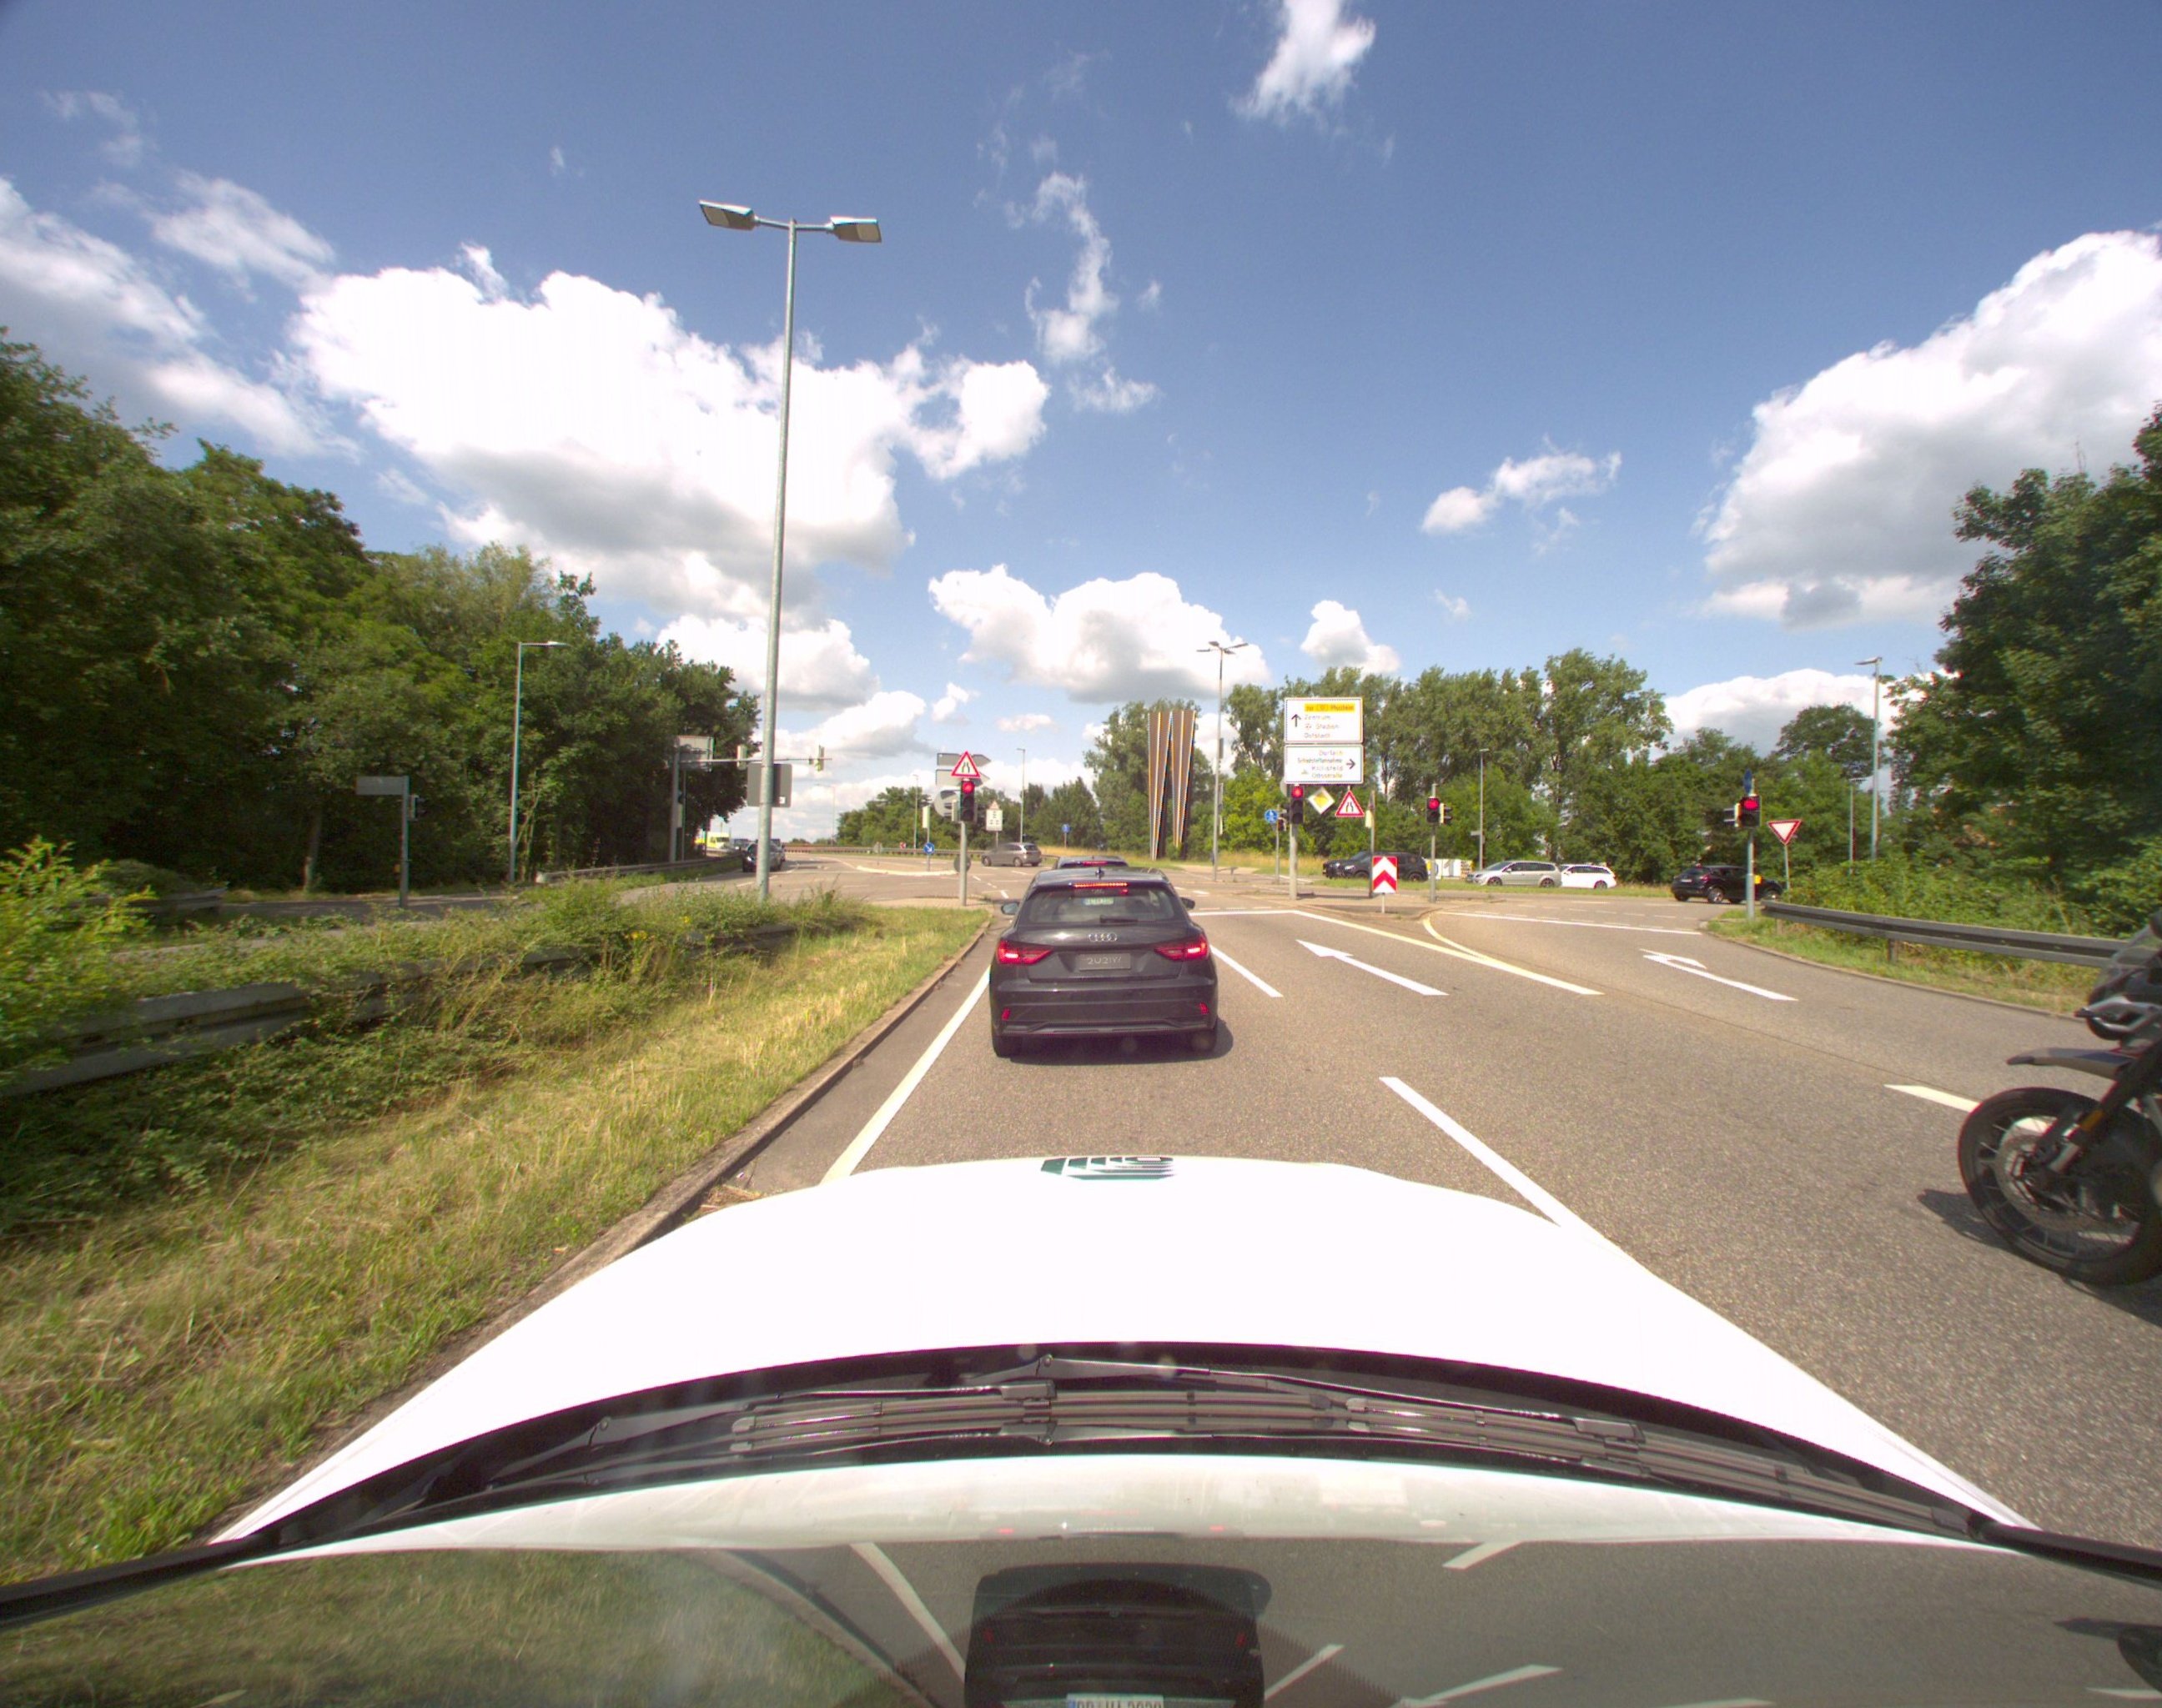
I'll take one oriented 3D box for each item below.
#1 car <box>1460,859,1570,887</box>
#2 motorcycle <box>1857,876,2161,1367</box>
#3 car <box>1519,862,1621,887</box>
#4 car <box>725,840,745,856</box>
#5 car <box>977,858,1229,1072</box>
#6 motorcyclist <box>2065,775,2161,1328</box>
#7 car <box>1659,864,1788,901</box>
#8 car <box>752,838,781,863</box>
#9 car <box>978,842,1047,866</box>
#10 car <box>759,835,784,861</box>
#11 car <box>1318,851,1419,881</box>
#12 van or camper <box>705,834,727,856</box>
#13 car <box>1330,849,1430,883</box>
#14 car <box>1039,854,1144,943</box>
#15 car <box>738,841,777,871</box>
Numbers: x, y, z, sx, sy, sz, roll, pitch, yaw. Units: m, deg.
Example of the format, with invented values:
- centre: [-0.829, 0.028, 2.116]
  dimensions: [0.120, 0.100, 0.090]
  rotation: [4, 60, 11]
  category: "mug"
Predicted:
- centre: [21.108, 0.910, 39.700]
  dimensions: [4.460, 1.320, 1.736]
  rotation: [1, 0, -2]
  category: "car"
- centre: [3.571, 0.787, 2.105]
  dimensions: [0.933, 1.383, 2.371]
  rotation: [0, 0, 2]
  category: "motorcycle"
- centre: [26.157, 1.080, 43.618]
  dimensions: [4.481, 1.281, 1.736]
  rotation: [1, 0, -2]
  category: "car"
- centre: [-38.814, -0.644, 91.267]
  dimensions: [1.853, 1.705, 4.289]
  rotation: [1, 0, -26]
  category: "car"
- centre: [0.215, 0.780, 7.656]
  dimensions: [1.720, 1.404, 4.002]
  rotation: [-1, 0, 2]
  category: "car"
- centre: [3.566, 0.571, 2.030]
  dimensions: [0.933, 1.590, 1.084]
  rotation: [0, 0, 1]
  category: "motorcyclist"
- centre: [26.256, 1.143, 33.374]
  dimensions: [3.952, 1.418, 1.949]
  rotation: [1, 0, -7]
  category: "car"
- centre: [-23.201, -0.245, 60.214]
  dimensions: [1.849, 1.802, 4.299]
  rotation: [1, 0, -19]
  category: "car"
- centre: [-4.456, -0.009, 52.898]
  dimensions: [4.066, 1.496, 2.013]
  rotation: [1, 0, 33]
  category: "car"
- centre: [-25.754, -0.490, 67.626]
  dimensions: [1.850, 2.100, 4.295]
  rotation: [1, 0, -22]
  category: "car"
- centre: [15.296, 0.629, 43.516]
  dimensions: [4.831, 1.545, 1.737]
  rotation: [1, 0, 0]
  category: "car"
- centre: [-46.612, -1.083, 103.934]
  dimensions: [2.006, 2.683, 6.798]
  rotation: [0, 0, -30]
  category: "van or camper"
- centre: [14.520, 0.572, 39.680]
  dimensions: [4.253, 1.545, 1.737]
  rotation: [1, 0, 0]
  category: "car"
- centre: [0.101, 0.737, 15.465]
  dimensions: [1.722, 1.423, 3.841]
  rotation: [-1, 0, -2]
  category: "car"
- centre: [-18.266, 0.133, 46.157]
  dimensions: [1.844, 1.618, 3.974]
  rotation: [0, -1, -19]
  category: "car"
